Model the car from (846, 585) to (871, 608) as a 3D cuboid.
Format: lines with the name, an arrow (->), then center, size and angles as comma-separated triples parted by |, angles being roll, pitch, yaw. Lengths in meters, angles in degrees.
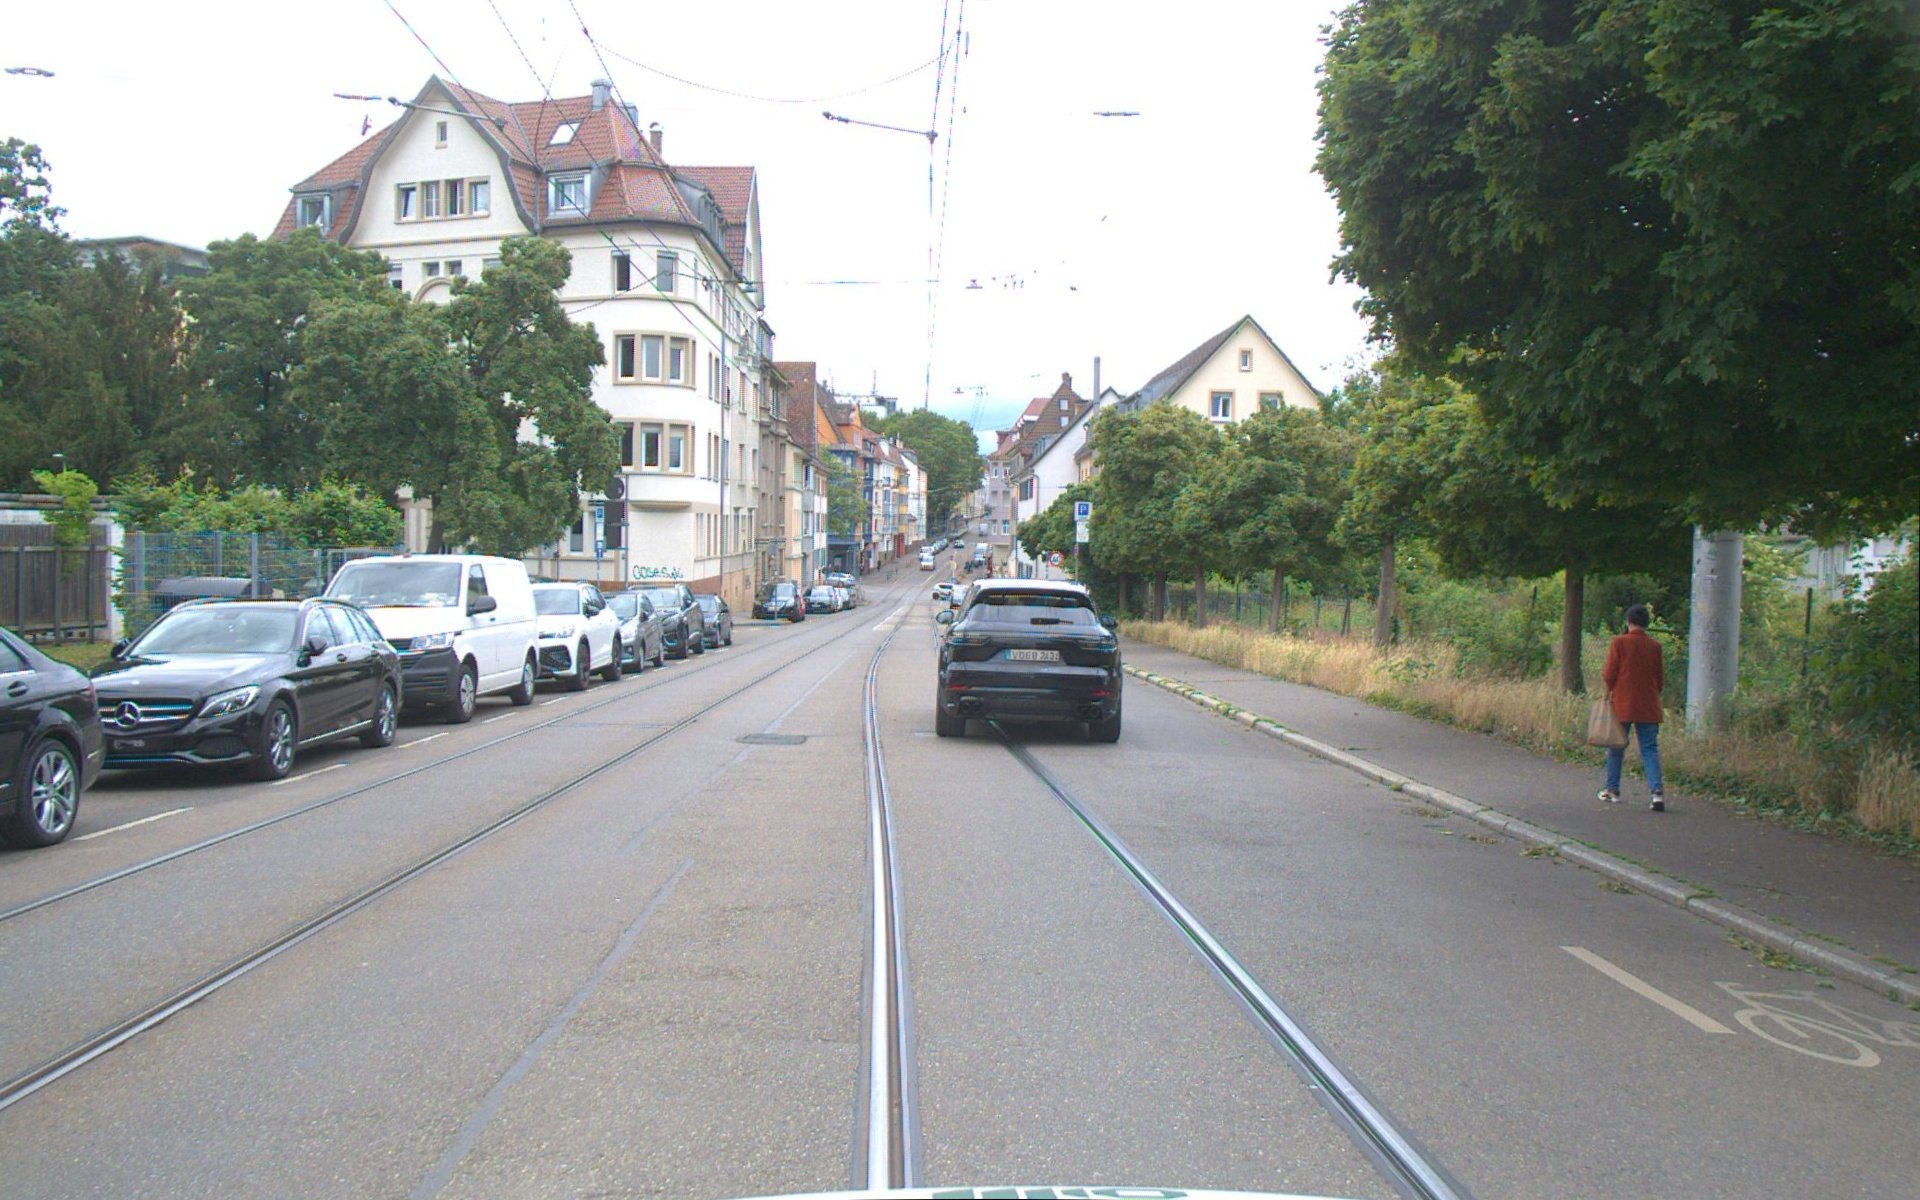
car -> -6.963, -0.217, 113.490 | 1.588, 1.499, 4.554 | 0, -1, -2

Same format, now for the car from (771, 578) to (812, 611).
car -> -7.670, -0.227, 75.548 | 1.588, 1.489, 3.744 | 0, -1, -2

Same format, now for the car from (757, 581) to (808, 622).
car -> -7.436, 0.088, 69.720 | 1.830, 1.674, 4.400 | 0, -1, -2

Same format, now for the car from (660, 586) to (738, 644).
car -> -6.989, 0.406, 44.628 | 1.588, 1.503, 4.154 | 0, -1, -2

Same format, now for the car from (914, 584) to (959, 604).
car -> -2.245, -0.606, 157.032 | 3.747, 1.800, 2.000 | 1, 0, 22

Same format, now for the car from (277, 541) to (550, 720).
car -> -6.555, 0.353, 20.436 | 1.929, 1.946, 4.733 | 0, -1, -2

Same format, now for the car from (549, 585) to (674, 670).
car -> -6.658, 0.520, 31.935 | 1.703, 1.535, 3.867 | 0, -1, -2

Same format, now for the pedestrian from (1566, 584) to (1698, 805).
pedestrian -> 5.186, 0.708, 12.802 | 0.700, 1.649, 0.718 | 1, 0, -1

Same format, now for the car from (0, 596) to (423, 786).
car -> -6.321, 0.698, 14.614 | 1.803, 1.411, 4.516 | 0, -1, -2

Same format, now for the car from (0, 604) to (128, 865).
car -> -6.063, 0.717, 8.143 | 1.803, 1.411, 4.438 | 0, -1, -2

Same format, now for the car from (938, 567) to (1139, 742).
car -> 0.760, 0.542, 18.487 | 1.953, 1.705, 3.999 | 1, 0, -1

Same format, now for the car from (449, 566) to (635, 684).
car -> -6.558, 0.381, 26.466 | 1.929, 1.716, 4.631 | 0, -1, -2

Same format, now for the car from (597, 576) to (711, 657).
car -> -6.930, 0.375, 37.880 | 1.929, 1.716, 4.442 | 0, -1, -2

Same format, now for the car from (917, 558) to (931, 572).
car -> -4.768, -4.697, 221.381 | 1.715, 1.790, 4.253 | 1, 0, 0

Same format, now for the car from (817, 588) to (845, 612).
car -> -8.169, -0.006, 104.775 | 1.588, 1.489, 3.683 | 0, -1, -2

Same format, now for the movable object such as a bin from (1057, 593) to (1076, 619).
movable object such as a bin -> 5.045, 0.278, 78.064 | 0.776, 1.239, 0.788 | 1, 0, -5

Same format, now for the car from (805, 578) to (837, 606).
car -> -7.880, -0.445, 94.112 | 1.588, 1.489, 4.031 | 0, -1, -2
